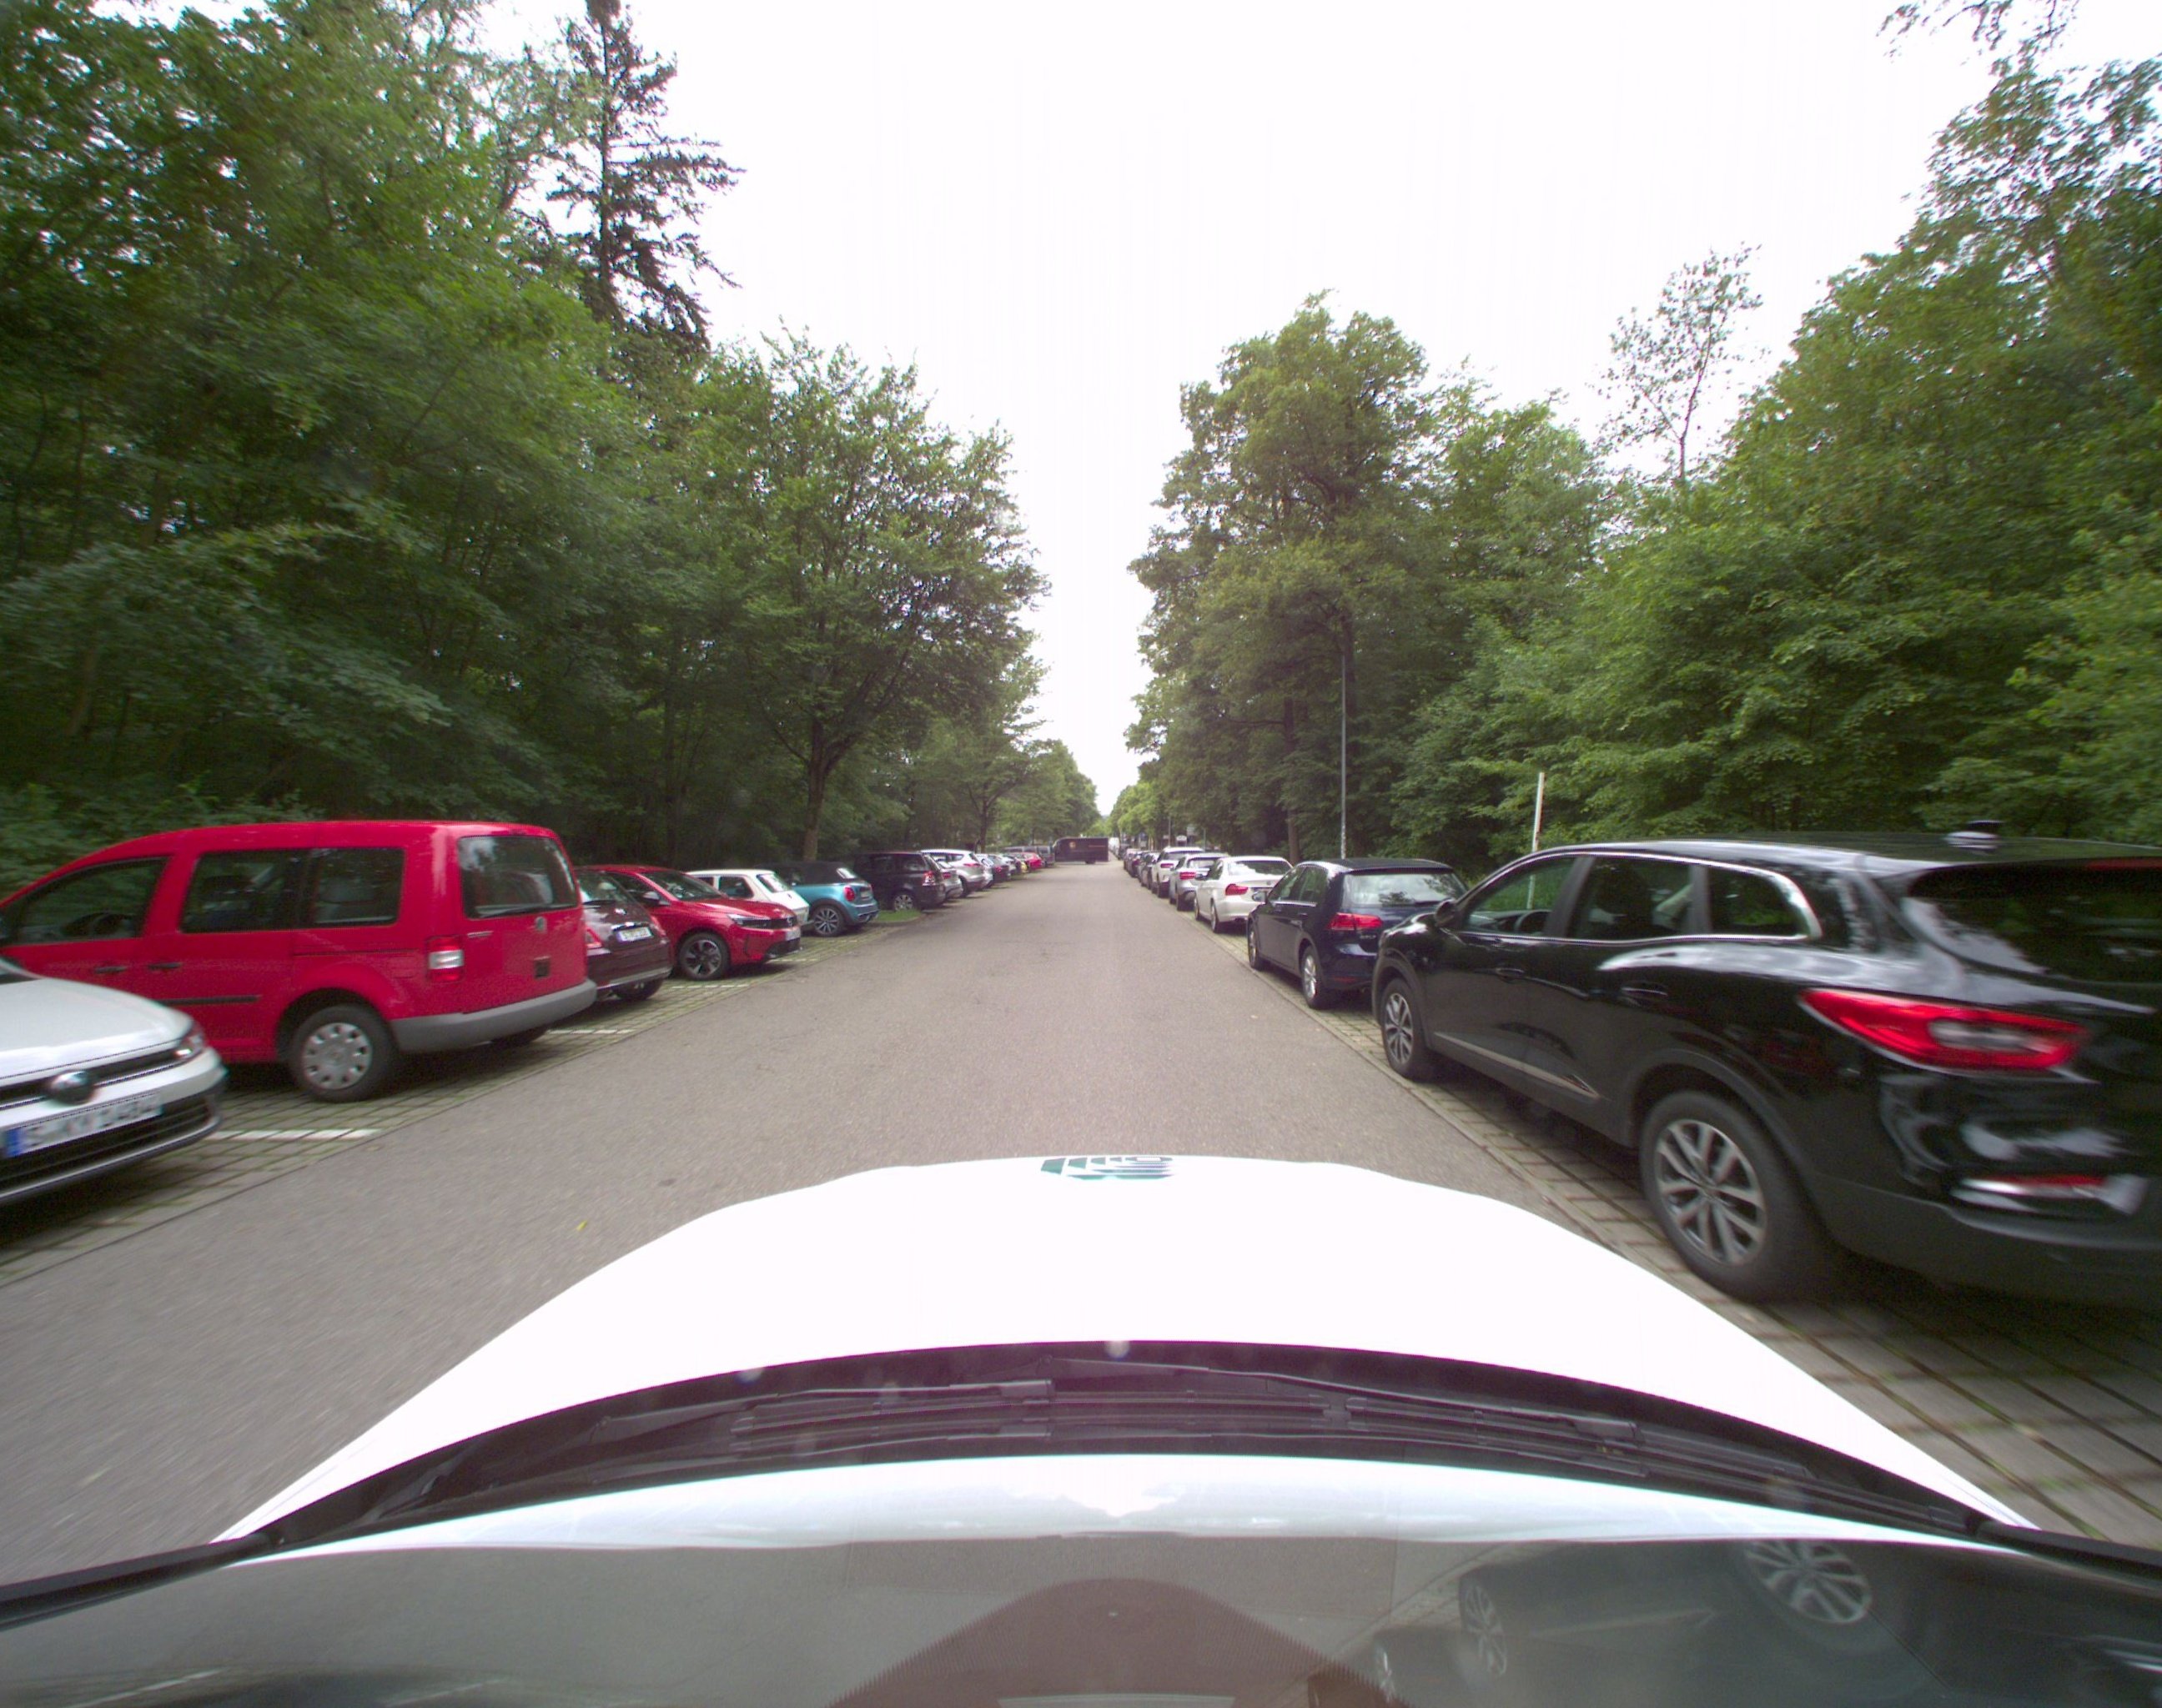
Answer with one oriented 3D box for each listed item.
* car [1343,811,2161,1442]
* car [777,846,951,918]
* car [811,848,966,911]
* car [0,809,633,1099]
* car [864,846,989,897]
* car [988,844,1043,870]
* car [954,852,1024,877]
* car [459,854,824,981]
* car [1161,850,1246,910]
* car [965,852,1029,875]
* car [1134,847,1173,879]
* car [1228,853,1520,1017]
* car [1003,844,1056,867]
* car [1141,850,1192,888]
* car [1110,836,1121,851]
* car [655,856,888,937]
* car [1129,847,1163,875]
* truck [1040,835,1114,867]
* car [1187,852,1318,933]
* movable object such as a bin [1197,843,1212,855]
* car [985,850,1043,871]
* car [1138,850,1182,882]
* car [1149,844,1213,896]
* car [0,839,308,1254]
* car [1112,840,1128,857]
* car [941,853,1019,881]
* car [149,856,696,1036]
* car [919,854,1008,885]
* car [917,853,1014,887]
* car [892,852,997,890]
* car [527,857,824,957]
[{"bbox_3d":[3.034,0.662,4.262,1.833,1.560,4.422,0,0,-1],"label":"car"},{"bbox_3d":[-5.524,0.689,21.086,3.975,1.662,1.695,-2,0,-1],"label":"car"},{"bbox_3d":[-5.479,0.709,23.554,3.972,1.662,1.815,-2,0,1],"label":"car"},{"bbox_3d":[-5.918,0.653,6.180,3.973,1.814,1.818,-1,0,0],"label":"car"},{"bbox_3d":[-5.308,0.588,28.396,3.975,1.662,1.814,-1,0,-1],"label":"car"},{"bbox_3d":[-4.896,0.201,61.346,3.973,1.862,1.814,-1,0,0],"label":"car"},{"bbox_3d":[-5.488,0.617,48.873,3.973,1.438,1.715,0,0,1],"label":"car"},{"bbox_3d":[-5.811,0.802,11.123,3.972,1.516,1.771,-1,0,1],"label":"car"},{"bbox_3d":[3.298,0.639,22.735,1.730,1.479,4.770,0,0,1],"label":"car"},{"bbox_3d":[-5.531,0.630,53.925,3.973,1.438,1.618,0,0,1],"label":"car"},{"bbox_3d":[3.799,0.448,43.098,1.730,1.568,4.008,0,0,1],"label":"car"},{"bbox_3d":[3.026,0.711,9.582,1.731,1.435,4.744,0,0,0],"label":"car"},{"bbox_3d":[-4.508,0.120,71.130,4.488,1.978,1.890,0,-1,-1],"label":"car"},{"bbox_3d":[3.490,0.573,33.930,1.730,1.474,4.606,0,0,1],"label":"car"},{"bbox_3d":[6.746,-2.093,160.319,2.175,3.015,4.900,0,1,2],"label":"car"},{"bbox_3d":[-6.113,0.815,16.358,3.969,1.448,1.698,-2,0,3],"label":"car"},{"bbox_3d":[3.754,0.376,47.824,1.730,1.589,4.382,0,0,1],"label":"car"},{"bbox_3d":[-0.468,-0.325,84.854,7.247,3.236,3.429,0,-1,-10],"label":"truck"},{"bbox_3d":[3.310,0.672,16.570,1.731,1.407,4.427,0,0,0],"label":"car"},{"bbox_3d":[14.100,-0.567,92.909,1.293,1.442,1.066,0,-1,-43],"label":"movable object such as a bin"},{"bbox_3d":[-4.786,0.475,58.514,3.975,1.476,1.779,0,0,-1],"label":"car"},{"bbox_3d":[3.654,0.519,38.394,1.730,1.425,4.155,0,0,1],"label":"car"},{"bbox_3d":[3.400,0.499,28.518,1.730,1.643,5.073,0,0,1],"label":"car"},{"bbox_3d":[-6.129,0.777,3.511,3.970,1.597,1.743,-1,0,3],"label":"car"},{"bbox_3d":[4.950,-0.691,102.540,1.980,2.013,4.111,0,1,2],"label":"car"},{"bbox_3d":[-5.423,0.682,43.940,3.973,1.467,1.715,0,0,0],"label":"car"},{"bbox_3d":[-6.308,0.826,8.166,3.972,1.516,1.818,-1,0,1],"label":"car"},{"bbox_3d":[-5.594,0.738,38.991,3.971,1.435,1.678,0,0,2],"label":"car"},{"bbox_3d":[-5.040,0.679,35.910,3.971,1.435,1.678,0,0,2],"label":"car"},{"bbox_3d":[-5.582,0.700,33.548,3.971,1.435,1.650,-1,0,2],"label":"car"},{"bbox_3d":[-6.554,0.825,13.463,3.972,1.448,1.771,-1,0,1],"label":"car"}]
